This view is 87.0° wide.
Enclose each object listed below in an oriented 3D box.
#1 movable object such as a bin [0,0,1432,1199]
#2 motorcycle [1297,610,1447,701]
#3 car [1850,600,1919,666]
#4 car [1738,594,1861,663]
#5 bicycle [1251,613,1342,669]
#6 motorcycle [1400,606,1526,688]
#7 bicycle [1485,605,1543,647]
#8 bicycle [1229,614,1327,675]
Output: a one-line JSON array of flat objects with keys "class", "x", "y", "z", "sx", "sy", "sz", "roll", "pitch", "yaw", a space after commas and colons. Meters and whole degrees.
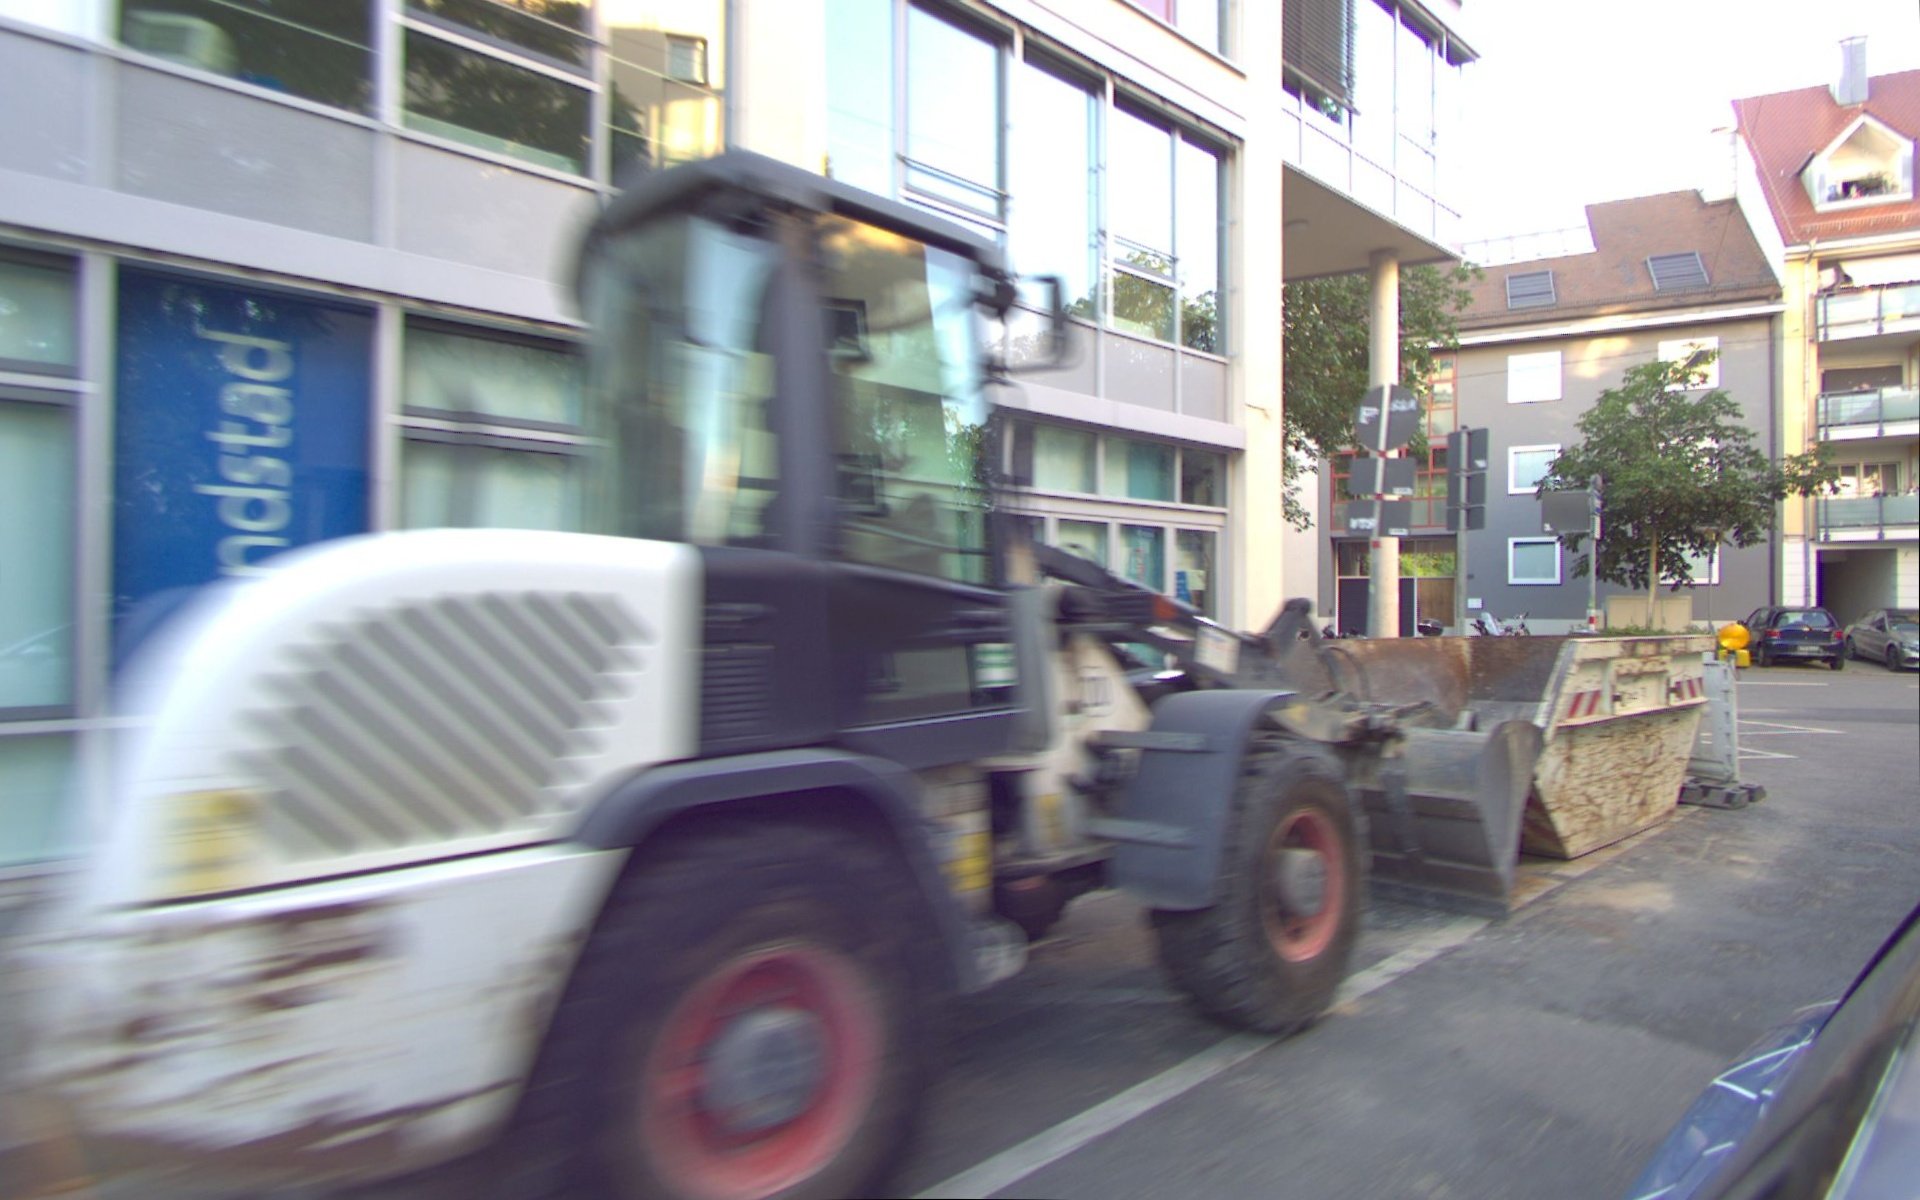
[{"class": "movable object such as a bin", "x": -0.314, "y": 0.118, "z": 3.321, "sx": 4.036, "sy": 2.668, "sz": 1.800, "roll": 0, "pitch": 0, "yaw": -39}, {"class": "motorcycle", "x": 6.381, "y": 0.826, "z": 15.695, "sx": 2.105, "sy": 1.290, "sz": 0.610, "roll": 1, "pitch": 0, "yaw": 27}, {"class": "car", "x": 23.727, "y": 0.781, "z": 24.740, "sx": 1.853, "sy": 1.527, "sz": 4.255, "roll": 0, "pitch": -1, "yaw": 26}, {"class": "car", "x": 21.243, "y": 0.654, "z": 25.754, "sx": 1.729, "sy": 1.545, "sz": 3.330, "roll": 0, "pitch": 2, "yaw": 28}, {"class": "bicycle", "x": 7.248, "y": 0.866, "z": 21.831, "sx": 1.782, "sy": 1.132, "sz": 0.597, "roll": 1, "pitch": 0, "yaw": 28}, {"class": "motorcycle", "x": 9.412, "y": 0.839, "z": 19.077, "sx": 0.785, "sy": 1.459, "sz": 2.384, "roll": 1, "pitch": -1, "yaw": -13}, {"class": "bicycle", "x": 16.538, "y": 0.761, "z": 30.234, "sx": 1.486, "sy": 1.186, "sz": 0.721, "roll": 0, "pitch": 4, "yaw": 28}, {"class": "bicycle", "x": 6.288, "y": 0.860, "z": 20.036, "sx": 1.782, "sy": 1.132, "sz": 0.597, "roll": 1, "pitch": 0, "yaw": 28}]
